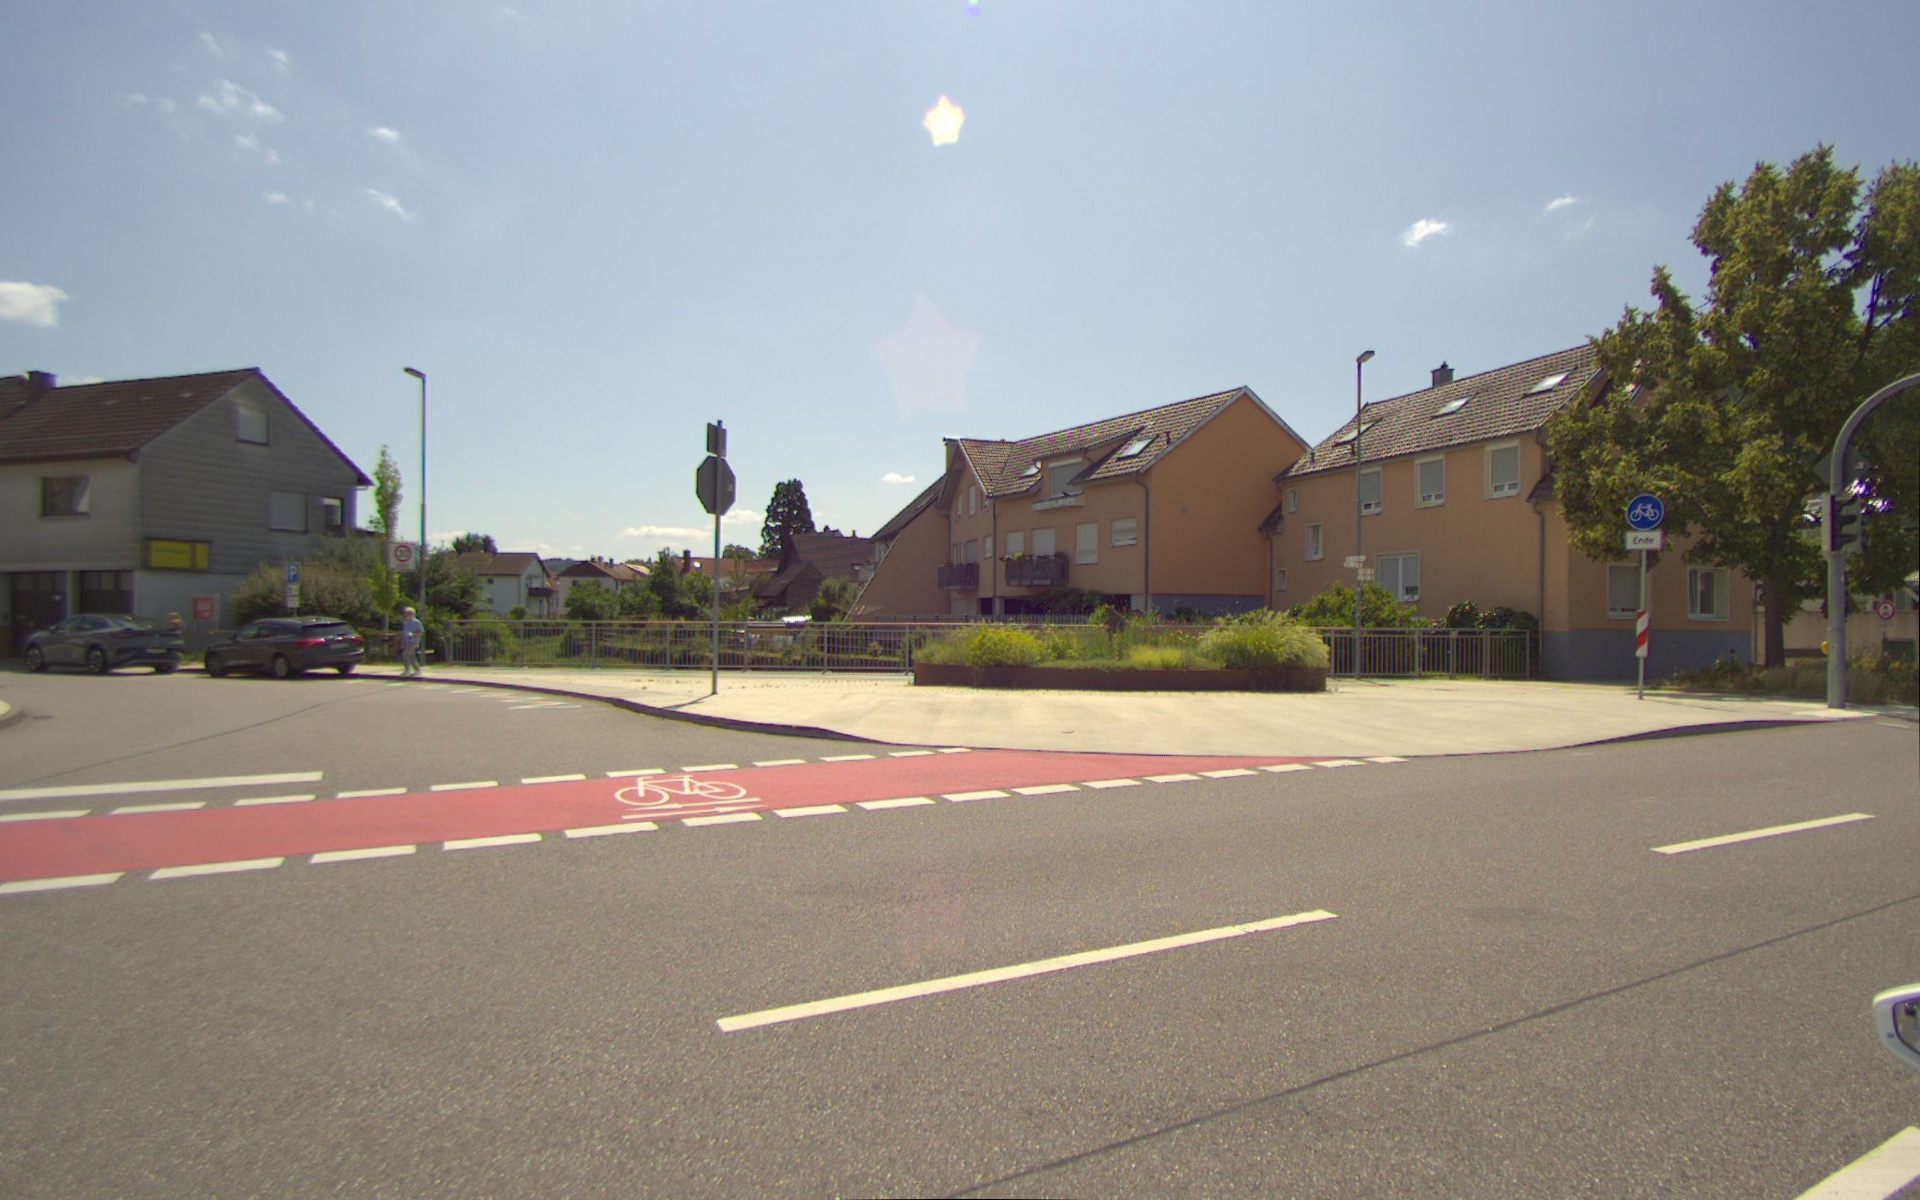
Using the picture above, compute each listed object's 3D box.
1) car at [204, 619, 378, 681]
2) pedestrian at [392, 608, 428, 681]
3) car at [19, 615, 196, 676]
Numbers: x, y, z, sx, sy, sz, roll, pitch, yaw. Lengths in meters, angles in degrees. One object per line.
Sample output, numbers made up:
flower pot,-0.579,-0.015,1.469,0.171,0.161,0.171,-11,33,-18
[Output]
car,-17.298,1.247,26.002,3.922,1.483,1.861,0,-1,22
pedestrian,-13.603,1.079,24.832,0.603,1.772,0.506,0,-1,26
car,-23.287,1.222,27.459,4.150,1.567,1.788,0,-2,19
